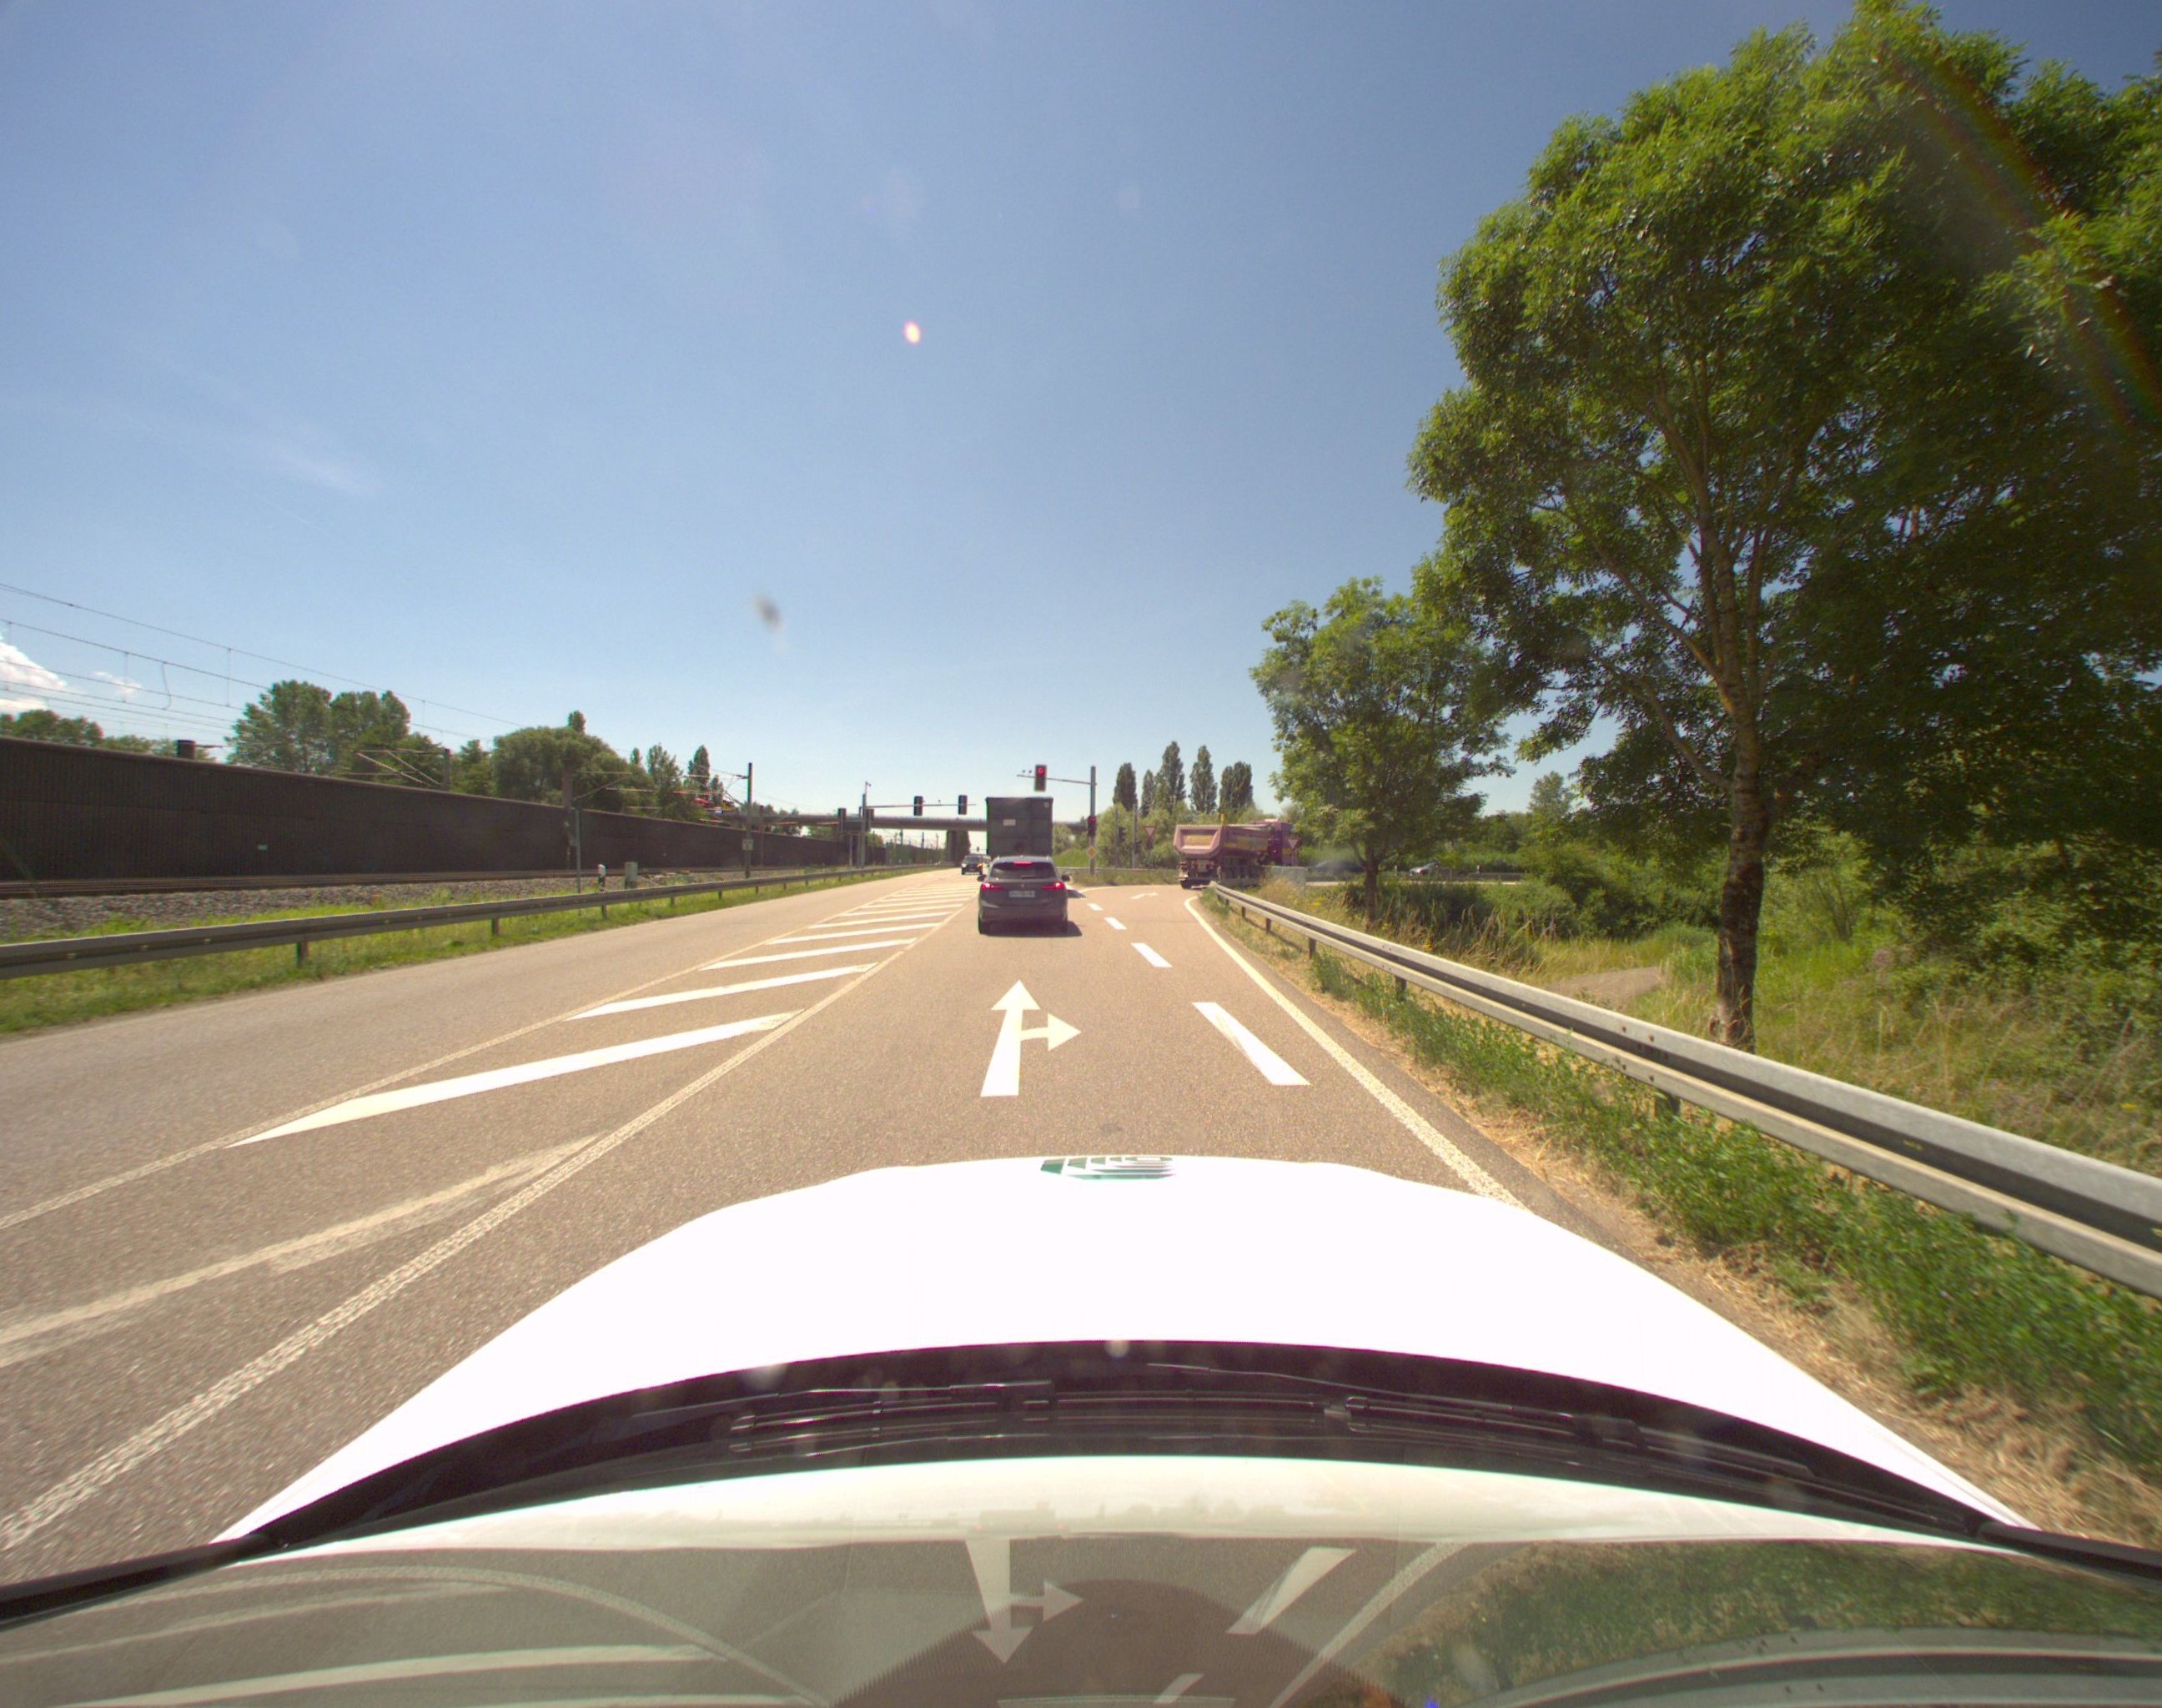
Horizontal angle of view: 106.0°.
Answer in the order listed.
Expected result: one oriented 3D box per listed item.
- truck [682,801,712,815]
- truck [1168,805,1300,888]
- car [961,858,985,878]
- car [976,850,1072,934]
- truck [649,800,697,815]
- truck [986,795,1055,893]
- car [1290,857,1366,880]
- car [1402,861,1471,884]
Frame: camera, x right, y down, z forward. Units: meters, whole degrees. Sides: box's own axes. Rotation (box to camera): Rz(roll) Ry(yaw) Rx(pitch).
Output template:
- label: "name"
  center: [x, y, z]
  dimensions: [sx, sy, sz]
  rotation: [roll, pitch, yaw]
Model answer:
- label: "truck"
  center: [-77.447, -9.328, 164.184]
  dimensions: [5.084, 2.674, 1.996]
  rotation: [0, -1, -6]
- label: "truck"
  center: [8.521, -0.294, 43.374]
  dimensions: [2.806, 3.821, 11.959]
  rotation: [0, -1, 32]
- label: "car"
  center: [-10.097, 1.290, 76.435]
  dimensions: [1.923, 1.767, 4.591]
  rotation: [1, 0, -4]
- label: "car"
  center: [-1.230, 0.739, 17.832]
  dimensions: [1.841, 1.623, 4.220]
  rotation: [0, 0, -4]
- label: "truck"
  center: [-81.973, -9.322, 163.720]
  dimensions: [8.483, 2.674, 1.996]
  rotation: [0, -1, -6]
- label: "truck"
  center: [-2.641, -0.395, 35.799]
  dimensions: [2.585, 3.737, 9.560]
  rotation: [0, 0, -4]
- label: "car"
  center: [17.786, 1.018, 58.804]
  dimensions: [4.914, 1.632, 1.931]
  rotation: [0, -1, -4]
- label: "car"
  center: [26.001, 1.360, 59.652]
  dimensions: [4.216, 1.632, 1.931]
  rotation: [0, -1, -4]
